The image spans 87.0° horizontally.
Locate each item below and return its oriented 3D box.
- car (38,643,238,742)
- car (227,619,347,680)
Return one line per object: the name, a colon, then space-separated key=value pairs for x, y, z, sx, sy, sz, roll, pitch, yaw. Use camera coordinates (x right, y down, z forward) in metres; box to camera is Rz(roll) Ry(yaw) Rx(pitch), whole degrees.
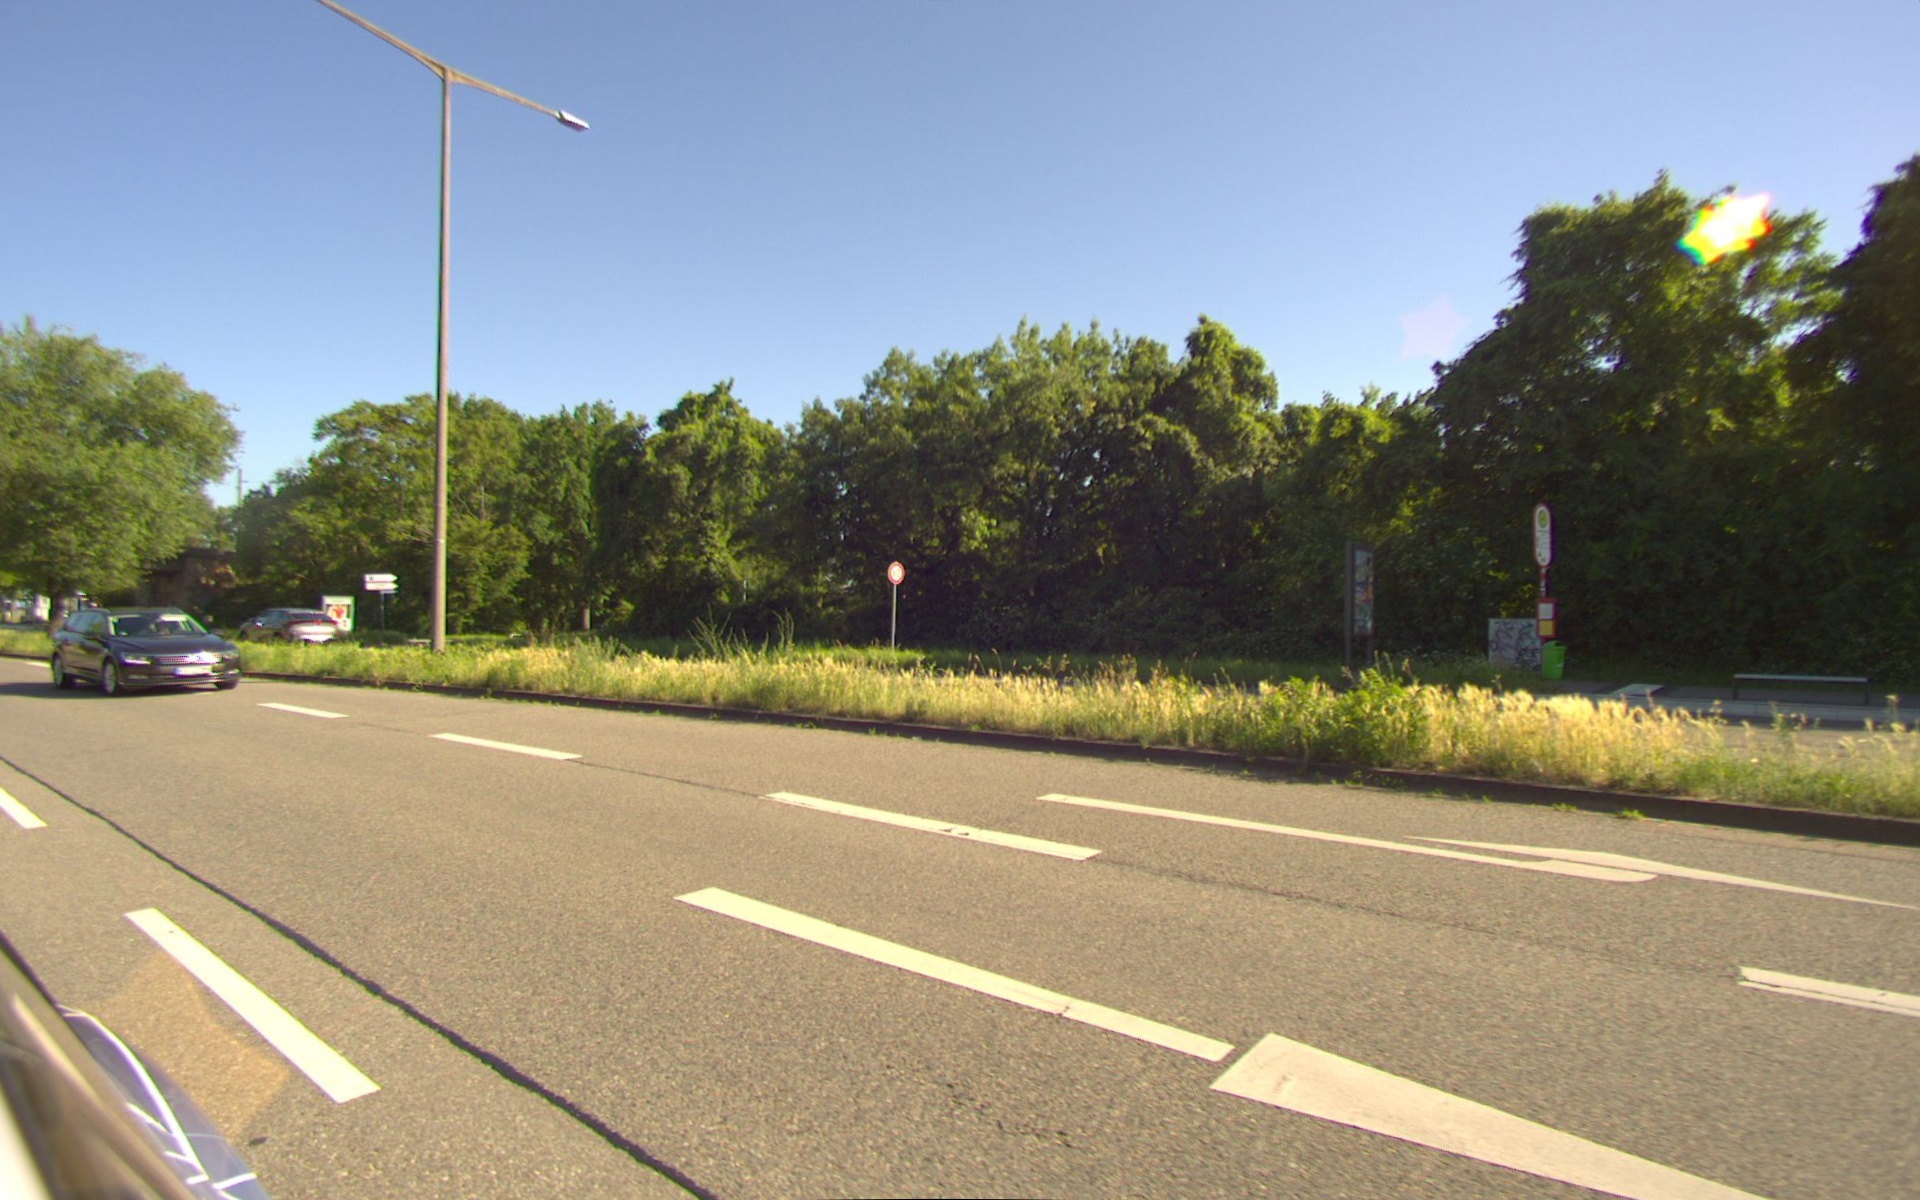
car: x=-14.600 y=1.537 z=17.903 sx=4.259 sy=1.464 sz=1.826 roll=-1 pitch=-1 yaw=38
car: x=-24.213 y=1.722 z=36.370 sx=4.570 sy=2.029 sz=1.977 roll=0 pitch=-1 yaw=34
